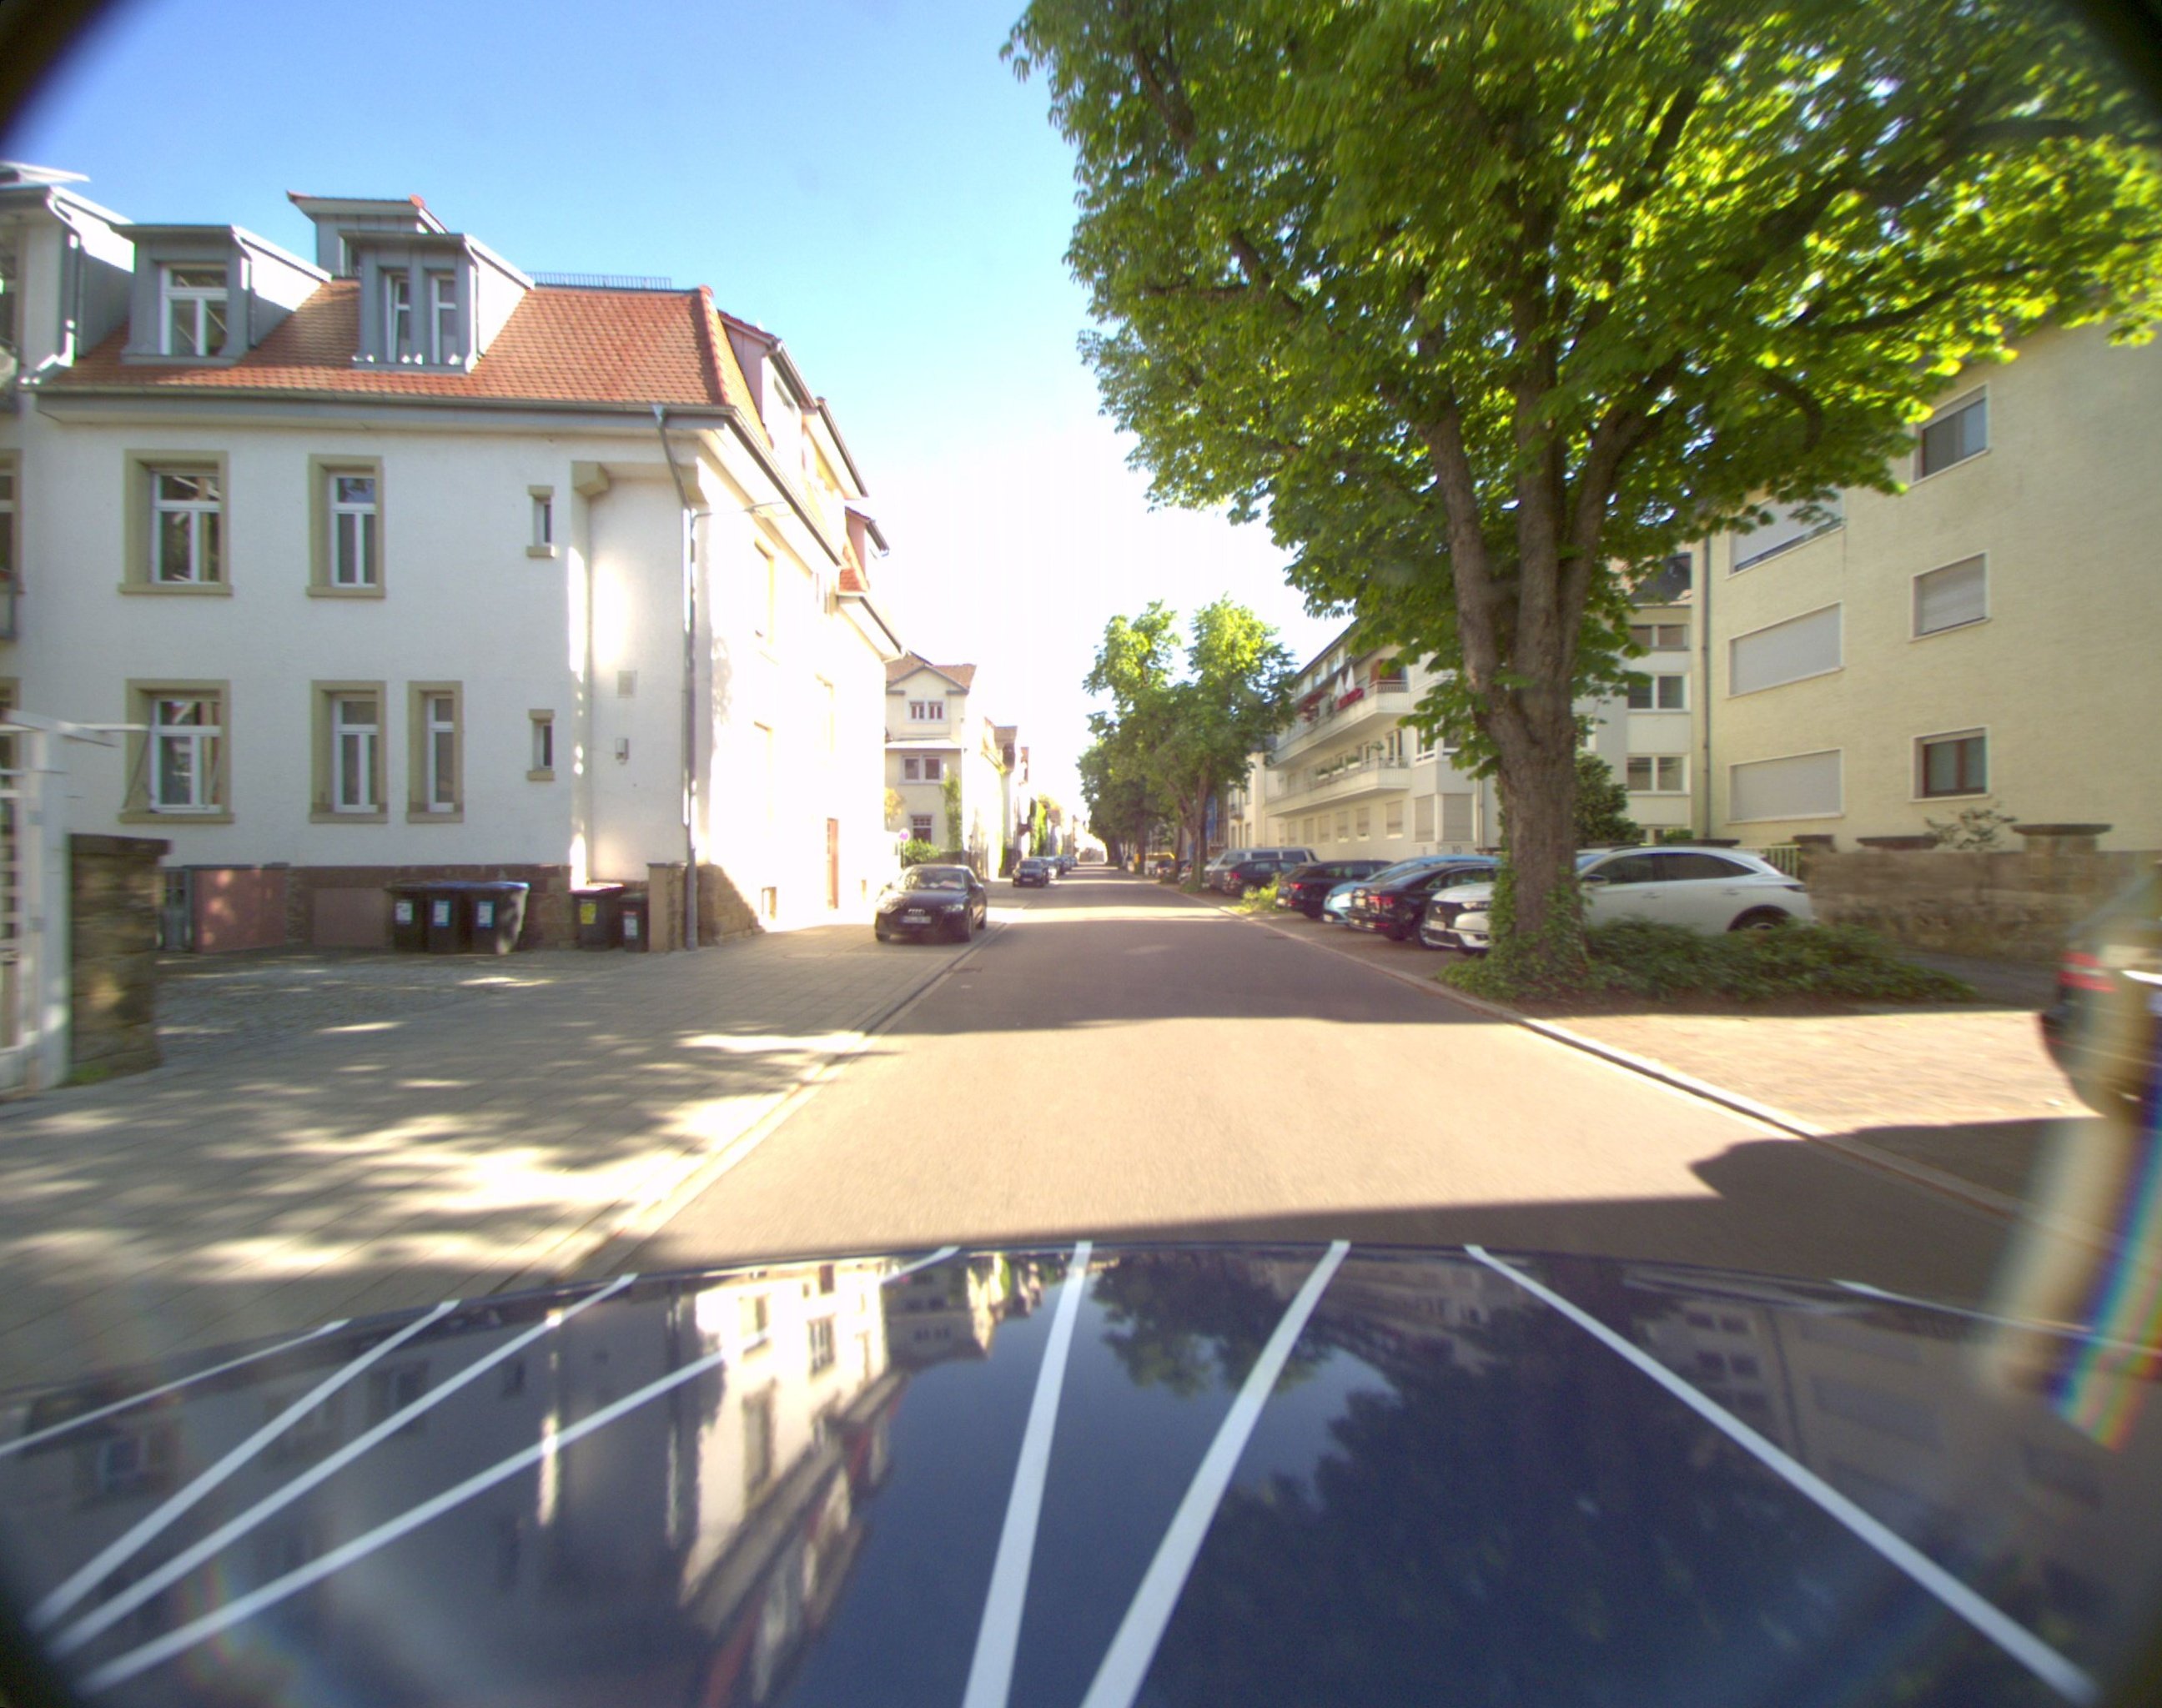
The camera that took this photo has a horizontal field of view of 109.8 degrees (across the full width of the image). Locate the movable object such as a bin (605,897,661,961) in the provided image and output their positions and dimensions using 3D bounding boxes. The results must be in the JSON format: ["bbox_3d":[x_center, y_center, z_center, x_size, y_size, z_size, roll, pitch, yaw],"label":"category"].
[{"bbox_3d":[-7.144,1.187,12.141,0.487,0.931,0.653,-2,1,-3],"label":"movable object such as a bin"}]

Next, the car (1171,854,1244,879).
[{"bbox_3d":[7.724,0.782,46.772,4.198,1.433,1.713,-1,0,-1],"label":"car"}]

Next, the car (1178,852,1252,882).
[{"bbox_3d":[7.126,0.658,40.686,3.652,1.454,1.710,-2,1,3],"label":"car"}]

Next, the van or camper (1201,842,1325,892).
[{"bbox_3d":[7.194,0.514,30.432,4.508,1.903,1.964,0,1,1],"label":"van or camper"}]

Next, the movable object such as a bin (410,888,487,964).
[{"bbox_3d":[-9.479,1.068,11.408,0.554,1.038,0.655,-2,2,-3],"label":"movable object such as a bin"}]

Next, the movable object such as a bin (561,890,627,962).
[{"bbox_3d":[-7.743,1.127,12.103,0.557,1.056,0.696,-2,2,-3],"label":"movable object such as a bin"}]

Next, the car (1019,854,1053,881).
[{"bbox_3d":[-2.753,0.786,47.316,1.796,1.511,4.366,1,1,0],"label":"car"}]

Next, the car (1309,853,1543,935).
[{"bbox_3d":[7.015,0.777,15.738,3.997,1.583,1.878,0,0,-1],"label":"car"}]

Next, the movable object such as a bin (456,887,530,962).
[{"bbox_3d":[-8.856,1.048,11.463,0.557,1.044,0.655,-2,2,-3],"label":"movable object such as a bin"}]

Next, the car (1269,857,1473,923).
[{"bbox_3d":[6.837,0.830,18.257,4.197,1.490,1.861,0,0,-1],"label":"car"}]

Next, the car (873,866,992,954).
[{"bbox_3d":[-2.822,1.016,15.257,1.624,1.431,3.934,2,0,-1],"label":"car"}]

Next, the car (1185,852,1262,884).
[{"bbox_3d":[7.095,0.706,38.084,3.486,1.449,1.797,-2,1,2],"label":"car"}]

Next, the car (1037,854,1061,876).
[{"bbox_3d":[-2.421,0.848,58.058,1.579,1.540,3.468,1,1,0],"label":"car"}]

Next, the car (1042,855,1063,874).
[{"bbox_3d":[-2.401,0.888,64.641,1.629,1.540,2.869,-1,1,0],"label":"car"}]

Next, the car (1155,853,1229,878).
[{"bbox_3d":[7.353,0.743,50.603,4.601,1.598,1.832,-1,0,-2],"label":"car"}]

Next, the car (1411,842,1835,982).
[{"bbox_3d":[7.072,0.735,10.288,4.396,1.642,1.824,1,-1,2],"label":"car"}]

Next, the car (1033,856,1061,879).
[{"bbox_3d":[-2.326,0.906,53.368,1.713,1.428,4.192,2,1,0],"label":"car"}]

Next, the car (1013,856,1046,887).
[{"bbox_3d":[-2.744,0.905,41.427,1.667,1.511,4.000,1,1,-2],"label":"car"}]

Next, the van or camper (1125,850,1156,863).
[{"bbox_3d":[7.901,0.352,101.229,3.954,1.763,1.809,-1,-1,0],"label":"van or camper"}]

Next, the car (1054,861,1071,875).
[{"bbox_3d":[-1.989,1.483,80.883,1.648,1.445,4.502,-1,0,0],"label":"car"}]

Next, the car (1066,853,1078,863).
[{"bbox_3d":[-1.501,0.579,122.226,1.814,1.546,4.106,-1,0,0],"label":"car"}]

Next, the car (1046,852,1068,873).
[{"bbox_3d":[-2.169,0.732,69.725,1.782,1.686,4.319,-2,1,1],"label":"car"}]

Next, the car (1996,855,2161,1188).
[{"bbox_3d":[7.067,0.758,3.263,3.872,1.566,1.848,-2,0,3],"label":"car"}]

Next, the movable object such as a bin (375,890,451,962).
[{"bbox_3d":[-10.083,1.072,11.490,0.519,0.997,0.655,-2,2,-3],"label":"movable object such as a bin"}]

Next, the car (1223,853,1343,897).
[{"bbox_3d":[7.273,0.747,27.639,3.954,1.489,1.662,-1,0,3],"label":"car"}]

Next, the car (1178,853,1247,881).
[{"bbox_3d":[7.448,0.716,43.184,3.488,1.412,1.709,-2,1,-4],"label":"car"}]

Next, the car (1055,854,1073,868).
[{"bbox_3d":[-2.000,0.773,90.177,1.872,1.635,4.199,1,0,1],"label":"car"}]

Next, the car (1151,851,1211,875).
[{"bbox_3d":[7.200,0.652,54.828,3.883,1.505,1.831,-3,1,-8],"label":"car"}]

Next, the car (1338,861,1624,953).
[{"bbox_3d":[6.682,0.860,13.009,3.997,1.460,1.697,0,0,0],"label":"car"}]
